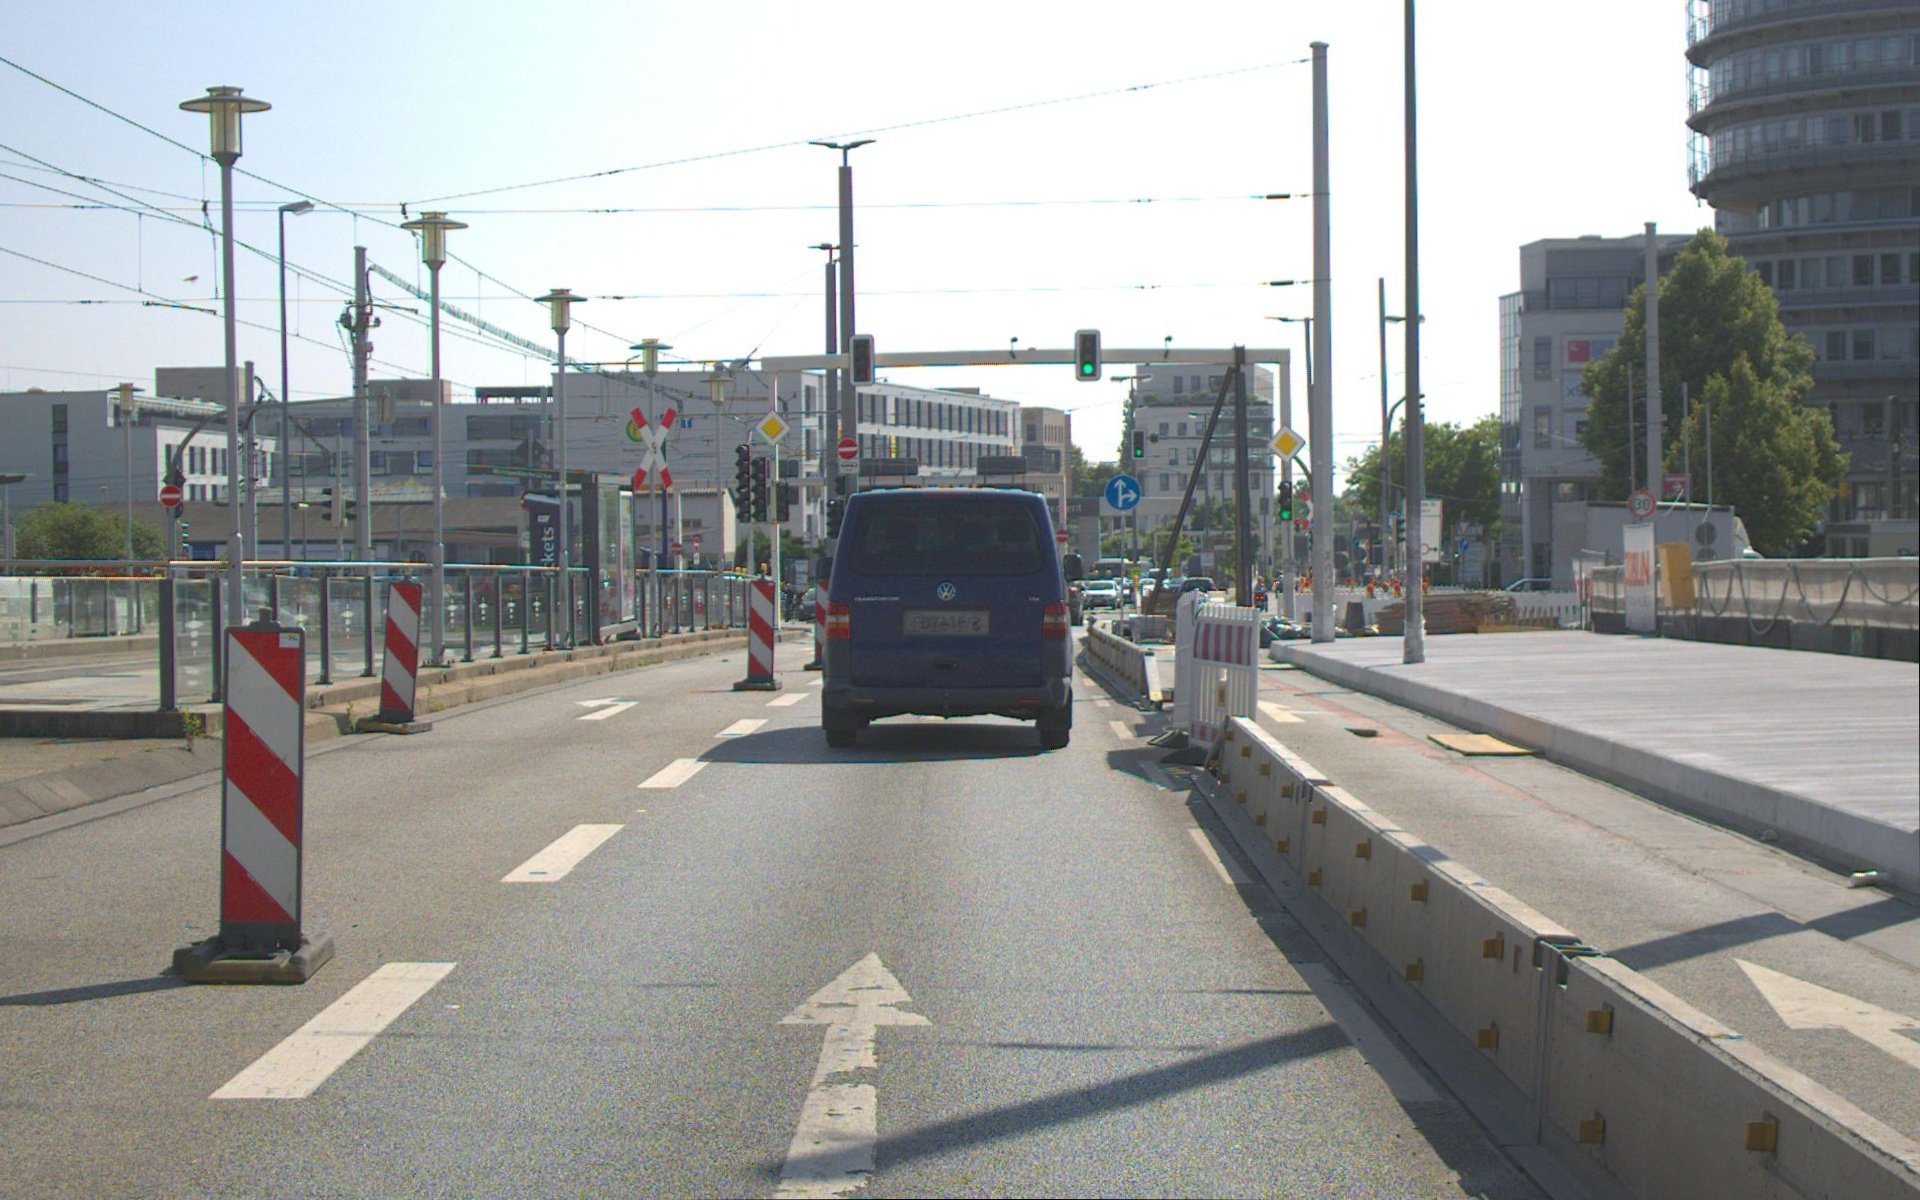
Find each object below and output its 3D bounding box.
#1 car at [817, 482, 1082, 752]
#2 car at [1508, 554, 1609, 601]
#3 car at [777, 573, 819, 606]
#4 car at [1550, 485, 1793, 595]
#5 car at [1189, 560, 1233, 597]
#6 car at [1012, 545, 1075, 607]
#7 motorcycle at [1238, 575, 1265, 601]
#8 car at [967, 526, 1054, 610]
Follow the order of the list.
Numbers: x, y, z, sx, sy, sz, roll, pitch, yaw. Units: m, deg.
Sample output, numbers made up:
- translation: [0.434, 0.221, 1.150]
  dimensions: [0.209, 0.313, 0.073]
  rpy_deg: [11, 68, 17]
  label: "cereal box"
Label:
- translation: [-0.129, 0.070, 26.993]
  dimensions: [1.888, 1.927, 4.001]
  rpy_deg: [1, 2, -1]
  label: "car"
- translation: [24.369, -0.917, 140.111]
  dimensions: [3.813, 1.791, 1.681]
  rpy_deg: [1, 2, 2]
  label: "car"
- translation: [-7.634, -0.497, 162.065]
  dimensions: [1.747, 1.481, 4.000]
  rpy_deg: [-1, 1, 0]
  label: "car"
- translation: [19.142, -1.621, 92.566]
  dimensions: [5.949, 2.877, 2.347]
  rpy_deg: [0, 2, -17]
  label: "car"
- translation: [10.280, -0.880, 140.711]
  dimensions: [1.744, 1.470, 3.884]
  rpy_deg: [0, 0, 3]
  label: "car"
- translation: [2.476, -0.723, 101.133]
  dimensions: [1.645, 1.722, 3.717]
  rpy_deg: [1, 1, 4]
  label: "car"
- translation: [15.183, -0.626, 178.957]
  dimensions: [1.162, 1.238, 3.006]
  rpy_deg: [2, 2, 9]
  label: "motorcycle"
- translation: [1.115, -0.714, 74.443]
  dimensions: [1.645, 1.722, 4.000]
  rpy_deg: [1, 1, 4]
  label: "car"
